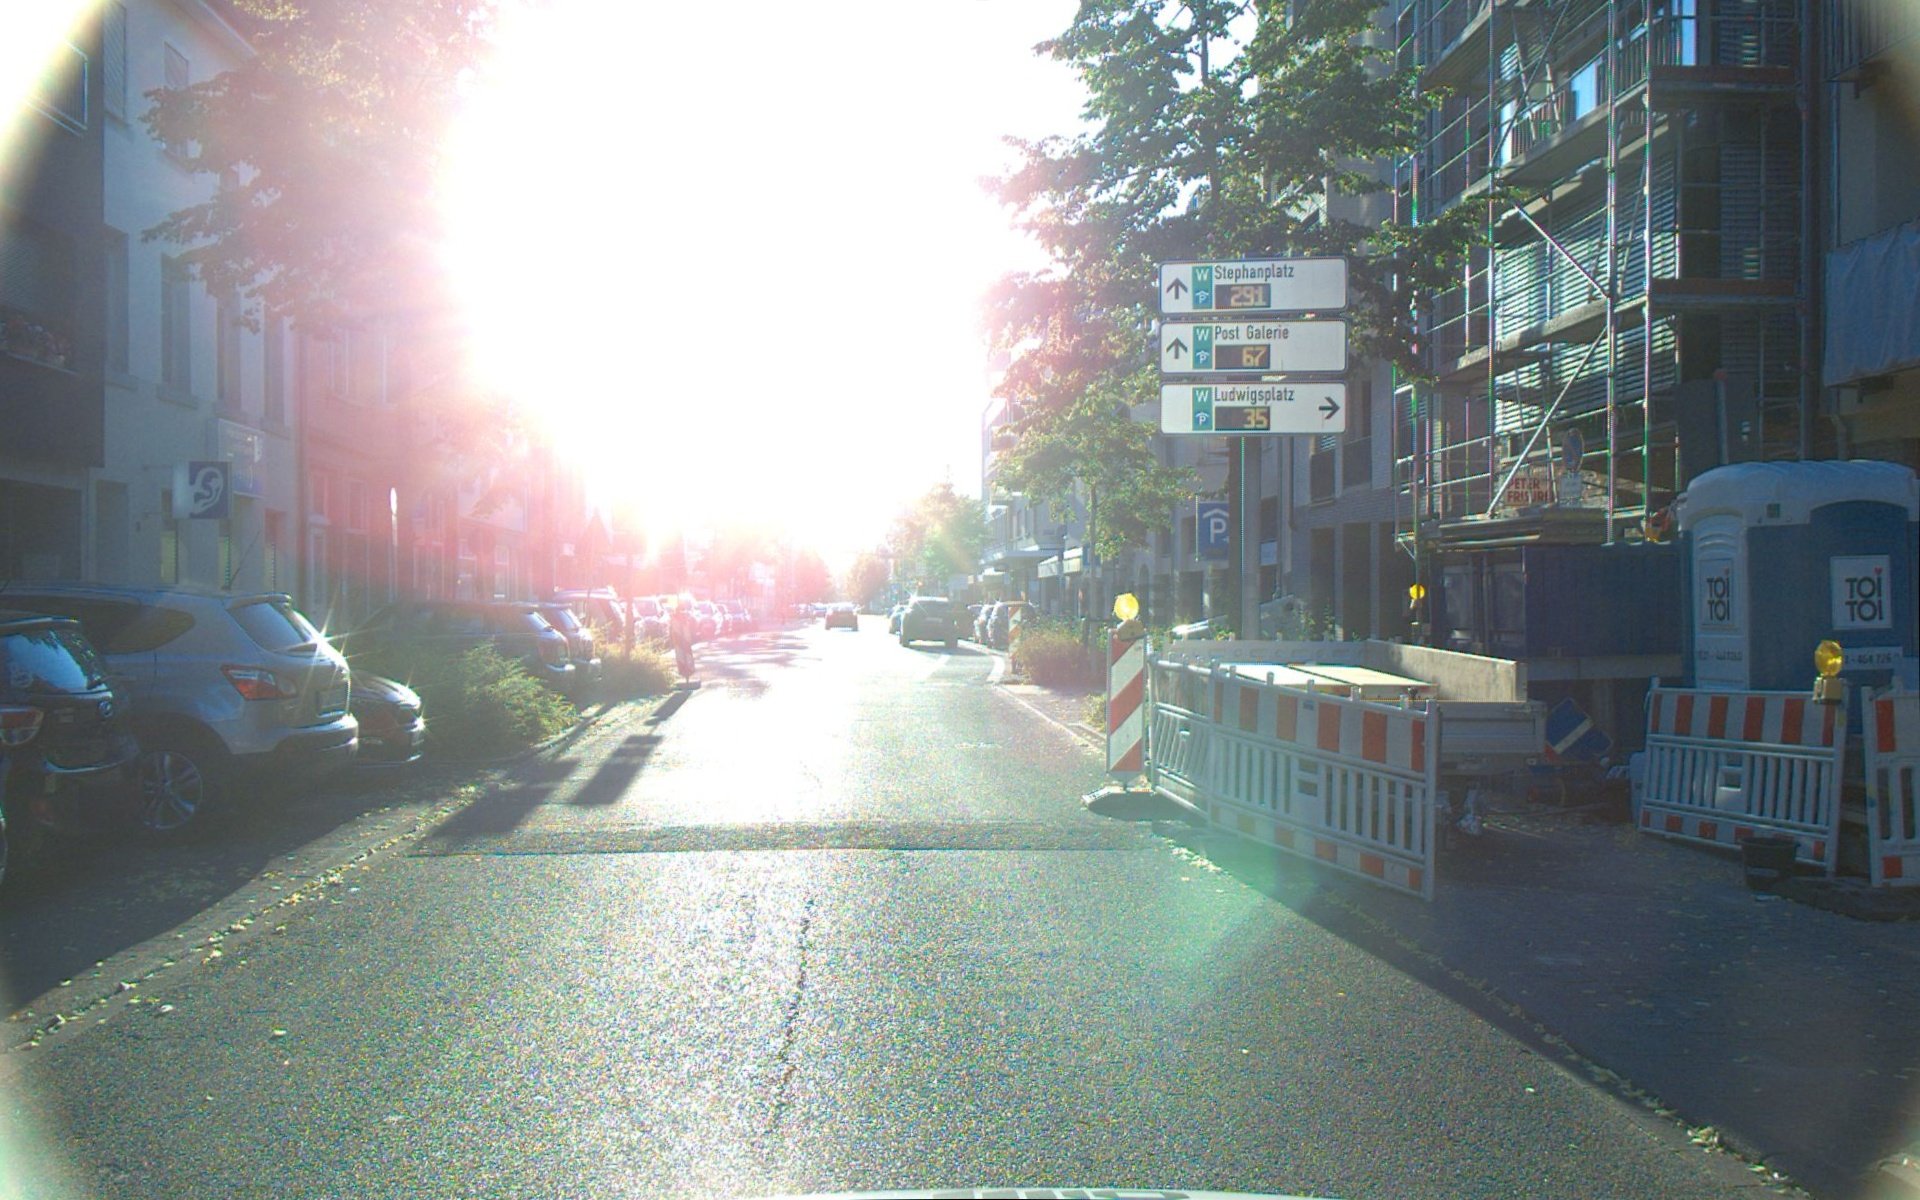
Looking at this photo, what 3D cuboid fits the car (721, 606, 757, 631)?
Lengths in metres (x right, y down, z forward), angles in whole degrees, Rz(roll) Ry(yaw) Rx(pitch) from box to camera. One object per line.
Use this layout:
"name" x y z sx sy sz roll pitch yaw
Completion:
"car" -12.452 1.036 93.480 1.797 1.351 4.120 0 0 -5

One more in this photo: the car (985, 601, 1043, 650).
"car" 1.807 0.850 56.192 1.601 1.581 2.691 -1 0 -6

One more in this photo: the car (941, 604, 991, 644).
"car" 0.207 0.910 63.142 1.601 1.449 3.754 -1 0 -5

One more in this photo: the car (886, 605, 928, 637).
"car" -2.652 1.010 81.656 1.884 1.440 4.544 2 0 -4

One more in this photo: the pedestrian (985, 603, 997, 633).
"pedestrian" 1.871 1.081 99.258 0.674 1.752 0.717 -1 -1 2

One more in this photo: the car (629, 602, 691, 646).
"car" -10.724 0.847 59.415 1.679 1.465 4.306 -2 0 -4

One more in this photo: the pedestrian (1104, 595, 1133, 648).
"pedestrian" 5.133 0.691 53.656 0.794 1.675 0.605 -2 -1 -4

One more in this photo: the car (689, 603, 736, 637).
"car" -11.625 0.930 77.916 1.791 1.464 4.549 -2 0 -4

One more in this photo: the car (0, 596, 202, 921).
"car" -6.160 0.761 8.692 3.574 1.541 1.649 0 0 1

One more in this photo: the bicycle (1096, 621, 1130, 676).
"bicycle" 3.146 0.988 34.135 0.374 1.119 1.521 0 -1 -7

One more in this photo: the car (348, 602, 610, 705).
"car" -6.925 0.758 24.065 3.328 1.416 1.686 0 0 -2

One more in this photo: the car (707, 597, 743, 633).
"car" -12.393 0.798 87.255 1.798 1.887 4.117 0 -1 -7

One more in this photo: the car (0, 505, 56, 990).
"car" -5.588 0.582 5.934 3.733 1.882 1.700 0 0 -1

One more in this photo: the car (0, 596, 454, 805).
"car" -6.379 0.756 13.342 4.128 1.543 1.759 0 0 -8

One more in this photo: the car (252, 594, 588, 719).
"car" -6.970 0.711 21.678 3.816 1.544 1.855 0 0 -4

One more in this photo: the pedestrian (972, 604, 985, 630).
"pedestrian" 1.111 1.019 99.454 0.674 1.586 0.862 0 -1 -4

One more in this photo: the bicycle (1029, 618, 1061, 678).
"bicycle" 1.636 0.922 32.010 0.374 1.119 1.521 0 0 -7

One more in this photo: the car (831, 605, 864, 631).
"car" -6.386 1.019 93.989 1.846 1.440 4.321 1 0 -4

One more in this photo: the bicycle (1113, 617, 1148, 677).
"bicycle" 3.532 0.972 34.343 0.374 1.210 1.520 1 -1 -7

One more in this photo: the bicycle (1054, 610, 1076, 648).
"bicycle" 3.515 0.958 55.381 0.389 1.256 1.823 -1 0 -6

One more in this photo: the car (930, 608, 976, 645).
"car" -0.322 1.110 70.001 1.669 1.461 3.929 -2 0 -4

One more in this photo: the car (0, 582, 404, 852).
"car" -5.843 0.705 10.888 3.748 1.613 1.741 1 -1 -1

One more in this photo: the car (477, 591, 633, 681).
"car" -7.627 0.658 31.346 2.643 1.547 1.569 -2 1 -8

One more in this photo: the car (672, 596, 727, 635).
"car" -11.287 0.663 71.965 1.791 1.583 5.132 -2 0 -3

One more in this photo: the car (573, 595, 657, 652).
"car" -9.702 0.642 46.724 1.738 1.541 3.947 0 0 -3

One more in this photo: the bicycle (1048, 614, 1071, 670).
"bicycle" 2.084 0.866 34.419 0.363 1.127 1.524 0 0 8

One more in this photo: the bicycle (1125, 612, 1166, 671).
"bicycle" 3.677 0.810 32.816 0.375 1.119 1.519 0 0 -11

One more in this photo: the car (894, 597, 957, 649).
"car" -1.238 0.774 57.148 1.955 1.684 4.670 2 0 -4
